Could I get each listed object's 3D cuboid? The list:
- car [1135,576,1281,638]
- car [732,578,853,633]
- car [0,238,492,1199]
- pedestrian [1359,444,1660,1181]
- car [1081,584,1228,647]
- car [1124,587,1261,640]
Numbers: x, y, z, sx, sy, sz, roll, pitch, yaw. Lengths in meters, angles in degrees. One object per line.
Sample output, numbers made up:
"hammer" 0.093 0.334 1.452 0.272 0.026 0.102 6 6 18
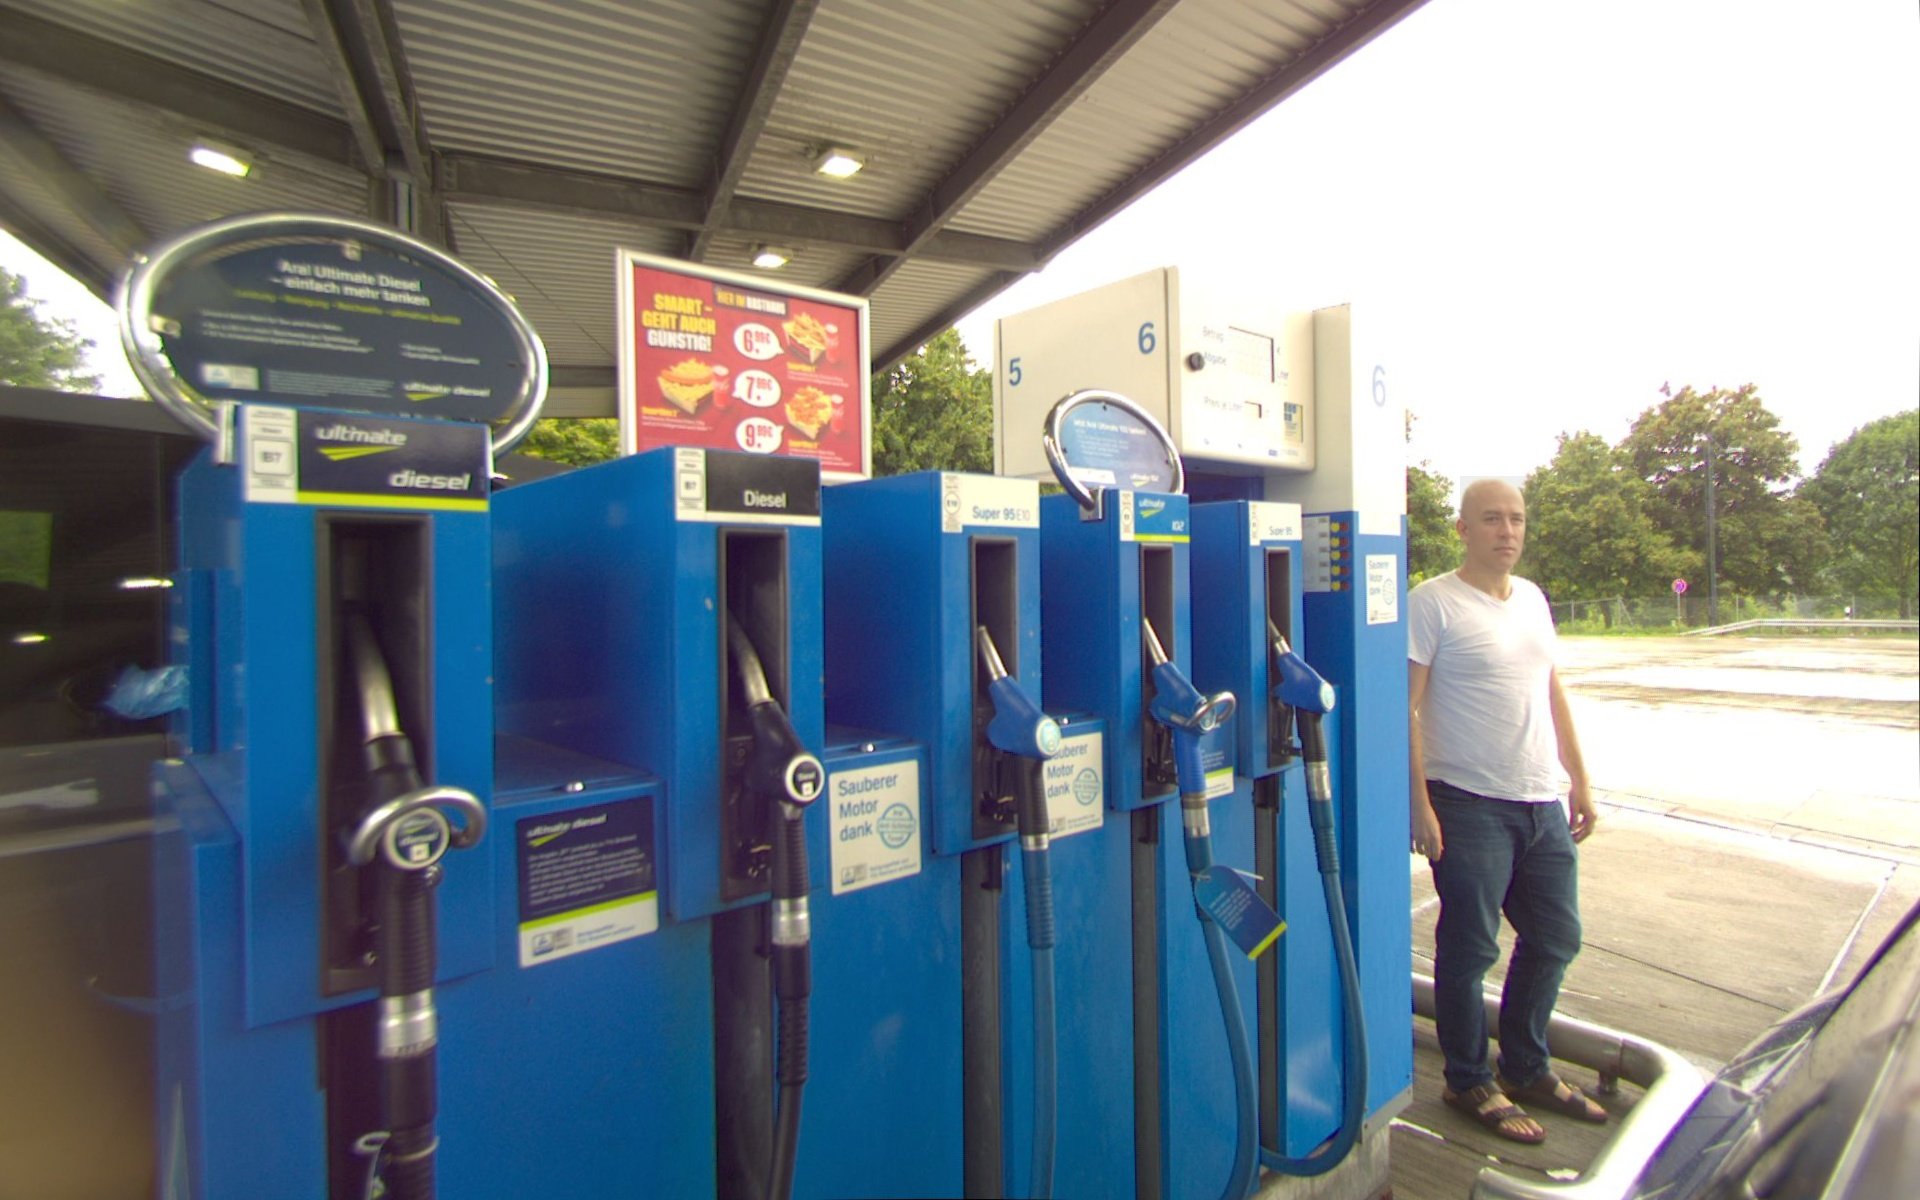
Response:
"car" 8.388 0.199 34.460 4.700 2.011 2.007 0 0 14
"car" -5.592 0.144 33.491 1.967 1.683 4.170 0 0 -44
"car" -3.032 0.406 1.474 3.930 1.973 1.819 0 0 -41
"pedestrian" 1.561 0.519 2.886 0.621 1.832 0.495 -2 1 -31
"car" 5.804 0.417 30.030 4.123 1.752 1.990 1 0 17
"car" 7.387 0.401 32.144 4.123 1.576 1.990 1 0 17
